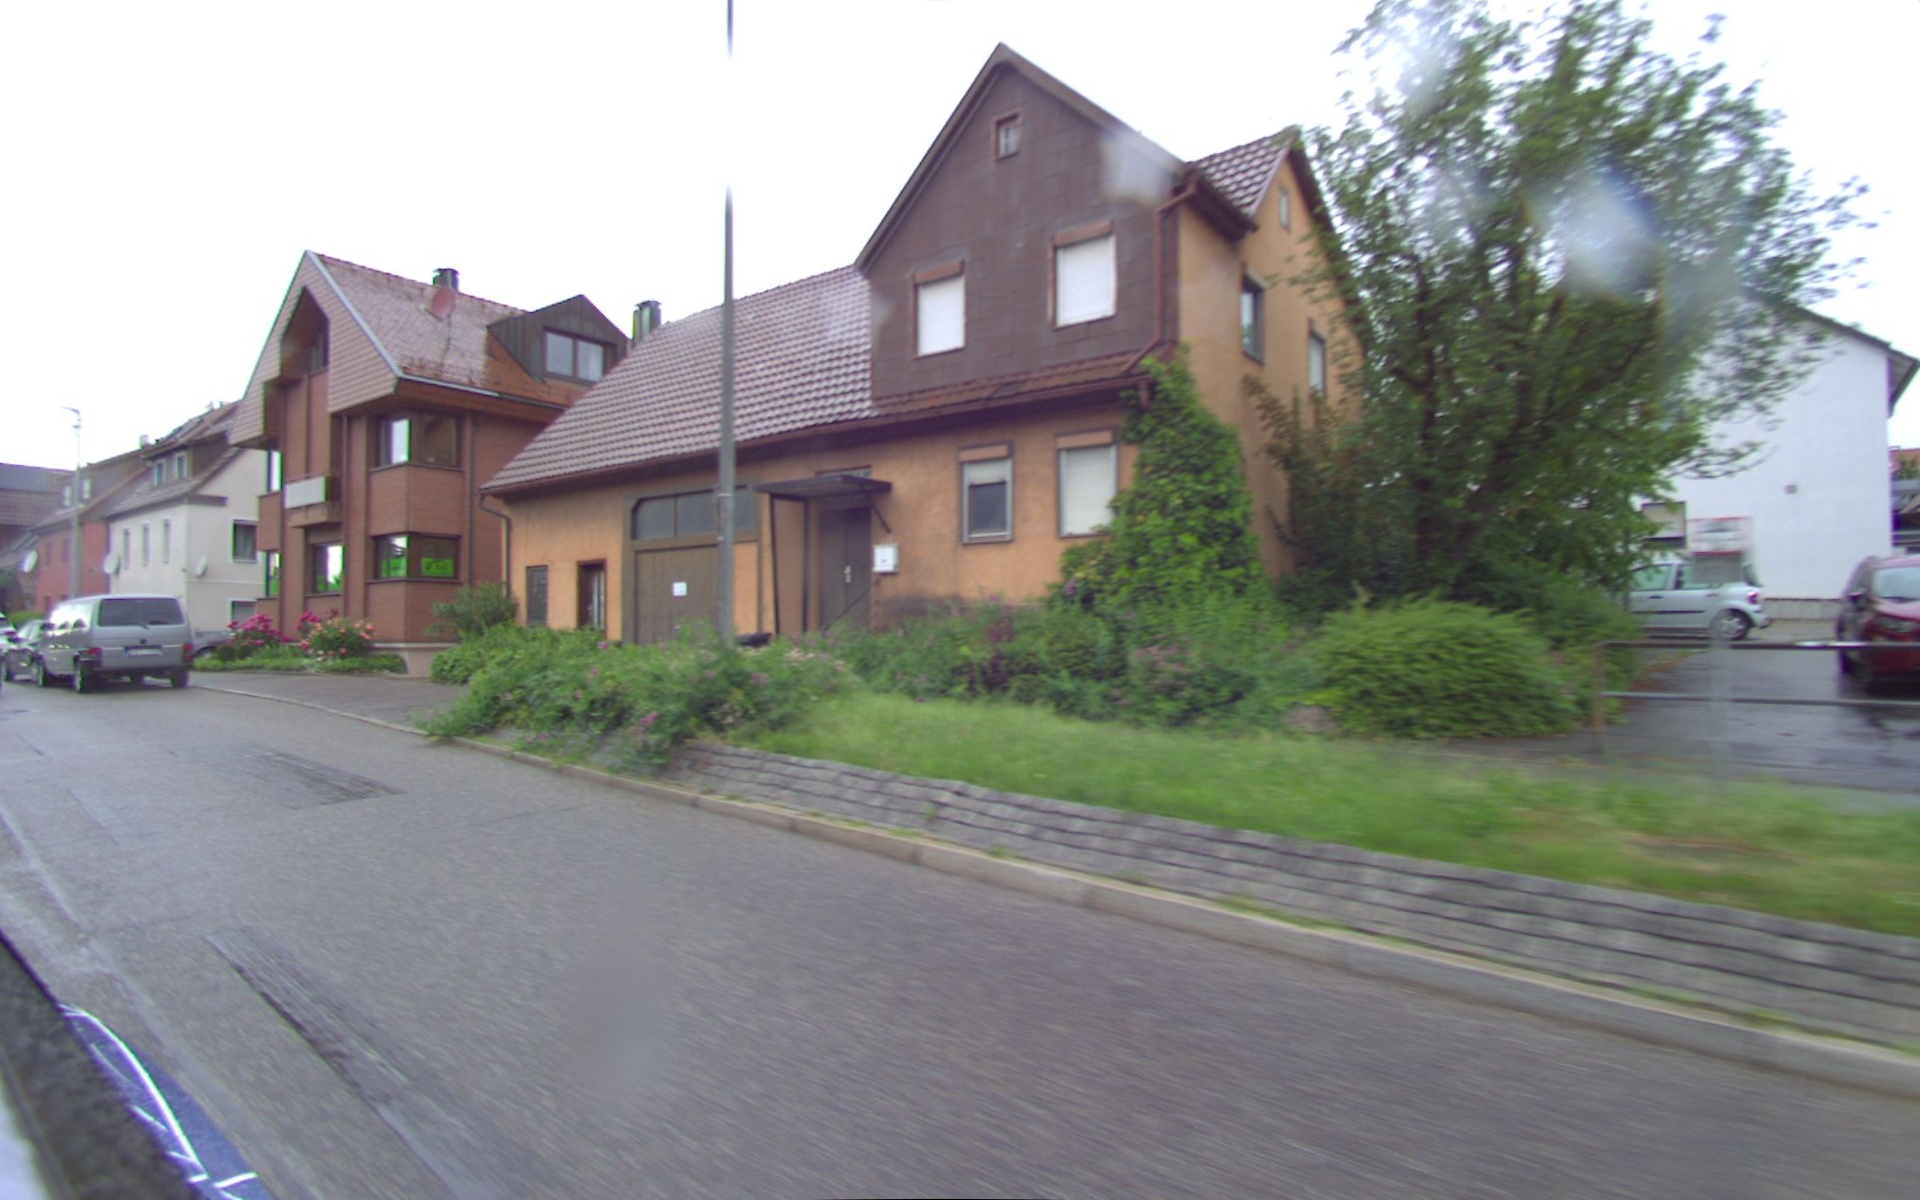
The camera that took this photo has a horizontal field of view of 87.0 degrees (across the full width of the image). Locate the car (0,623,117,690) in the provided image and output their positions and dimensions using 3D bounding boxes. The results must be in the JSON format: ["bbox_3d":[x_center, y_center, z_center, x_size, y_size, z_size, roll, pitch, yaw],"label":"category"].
[{"bbox_3d":[-21.995,1.317,24.635,3.563,1.508,1.563,-1,-2,38],"label":"car"}]

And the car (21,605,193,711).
[{"bbox_3d":[-18.415,1.176,21.763,5.207,2.029,1.804,-1,-2,38],"label":"car"}]

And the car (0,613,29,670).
[{"bbox_3d":[-29.704,1.225,30.245,4.644,1.631,1.749,-1,-2,34],"label":"car"}]

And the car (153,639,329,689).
[{"bbox_3d":[-22.123,1.926,31.255,1.788,1.414,4.129,-1,-2,41],"label":"car"}]

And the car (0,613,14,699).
[{"bbox_3d":[-20.439,1.098,20.139,3.995,1.652,1.780,-1,-2,39],"label":"car"}]

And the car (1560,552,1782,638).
[{"bbox_3d":[14.292,-0.052,20.474,3.535,1.588,1.732,-1,-2,37],"label":"car"}]

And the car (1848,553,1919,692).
[{"bbox_3d":[12.375,0.186,12.694,1.779,1.562,3.946,-1,1,41],"label":"car"}]
